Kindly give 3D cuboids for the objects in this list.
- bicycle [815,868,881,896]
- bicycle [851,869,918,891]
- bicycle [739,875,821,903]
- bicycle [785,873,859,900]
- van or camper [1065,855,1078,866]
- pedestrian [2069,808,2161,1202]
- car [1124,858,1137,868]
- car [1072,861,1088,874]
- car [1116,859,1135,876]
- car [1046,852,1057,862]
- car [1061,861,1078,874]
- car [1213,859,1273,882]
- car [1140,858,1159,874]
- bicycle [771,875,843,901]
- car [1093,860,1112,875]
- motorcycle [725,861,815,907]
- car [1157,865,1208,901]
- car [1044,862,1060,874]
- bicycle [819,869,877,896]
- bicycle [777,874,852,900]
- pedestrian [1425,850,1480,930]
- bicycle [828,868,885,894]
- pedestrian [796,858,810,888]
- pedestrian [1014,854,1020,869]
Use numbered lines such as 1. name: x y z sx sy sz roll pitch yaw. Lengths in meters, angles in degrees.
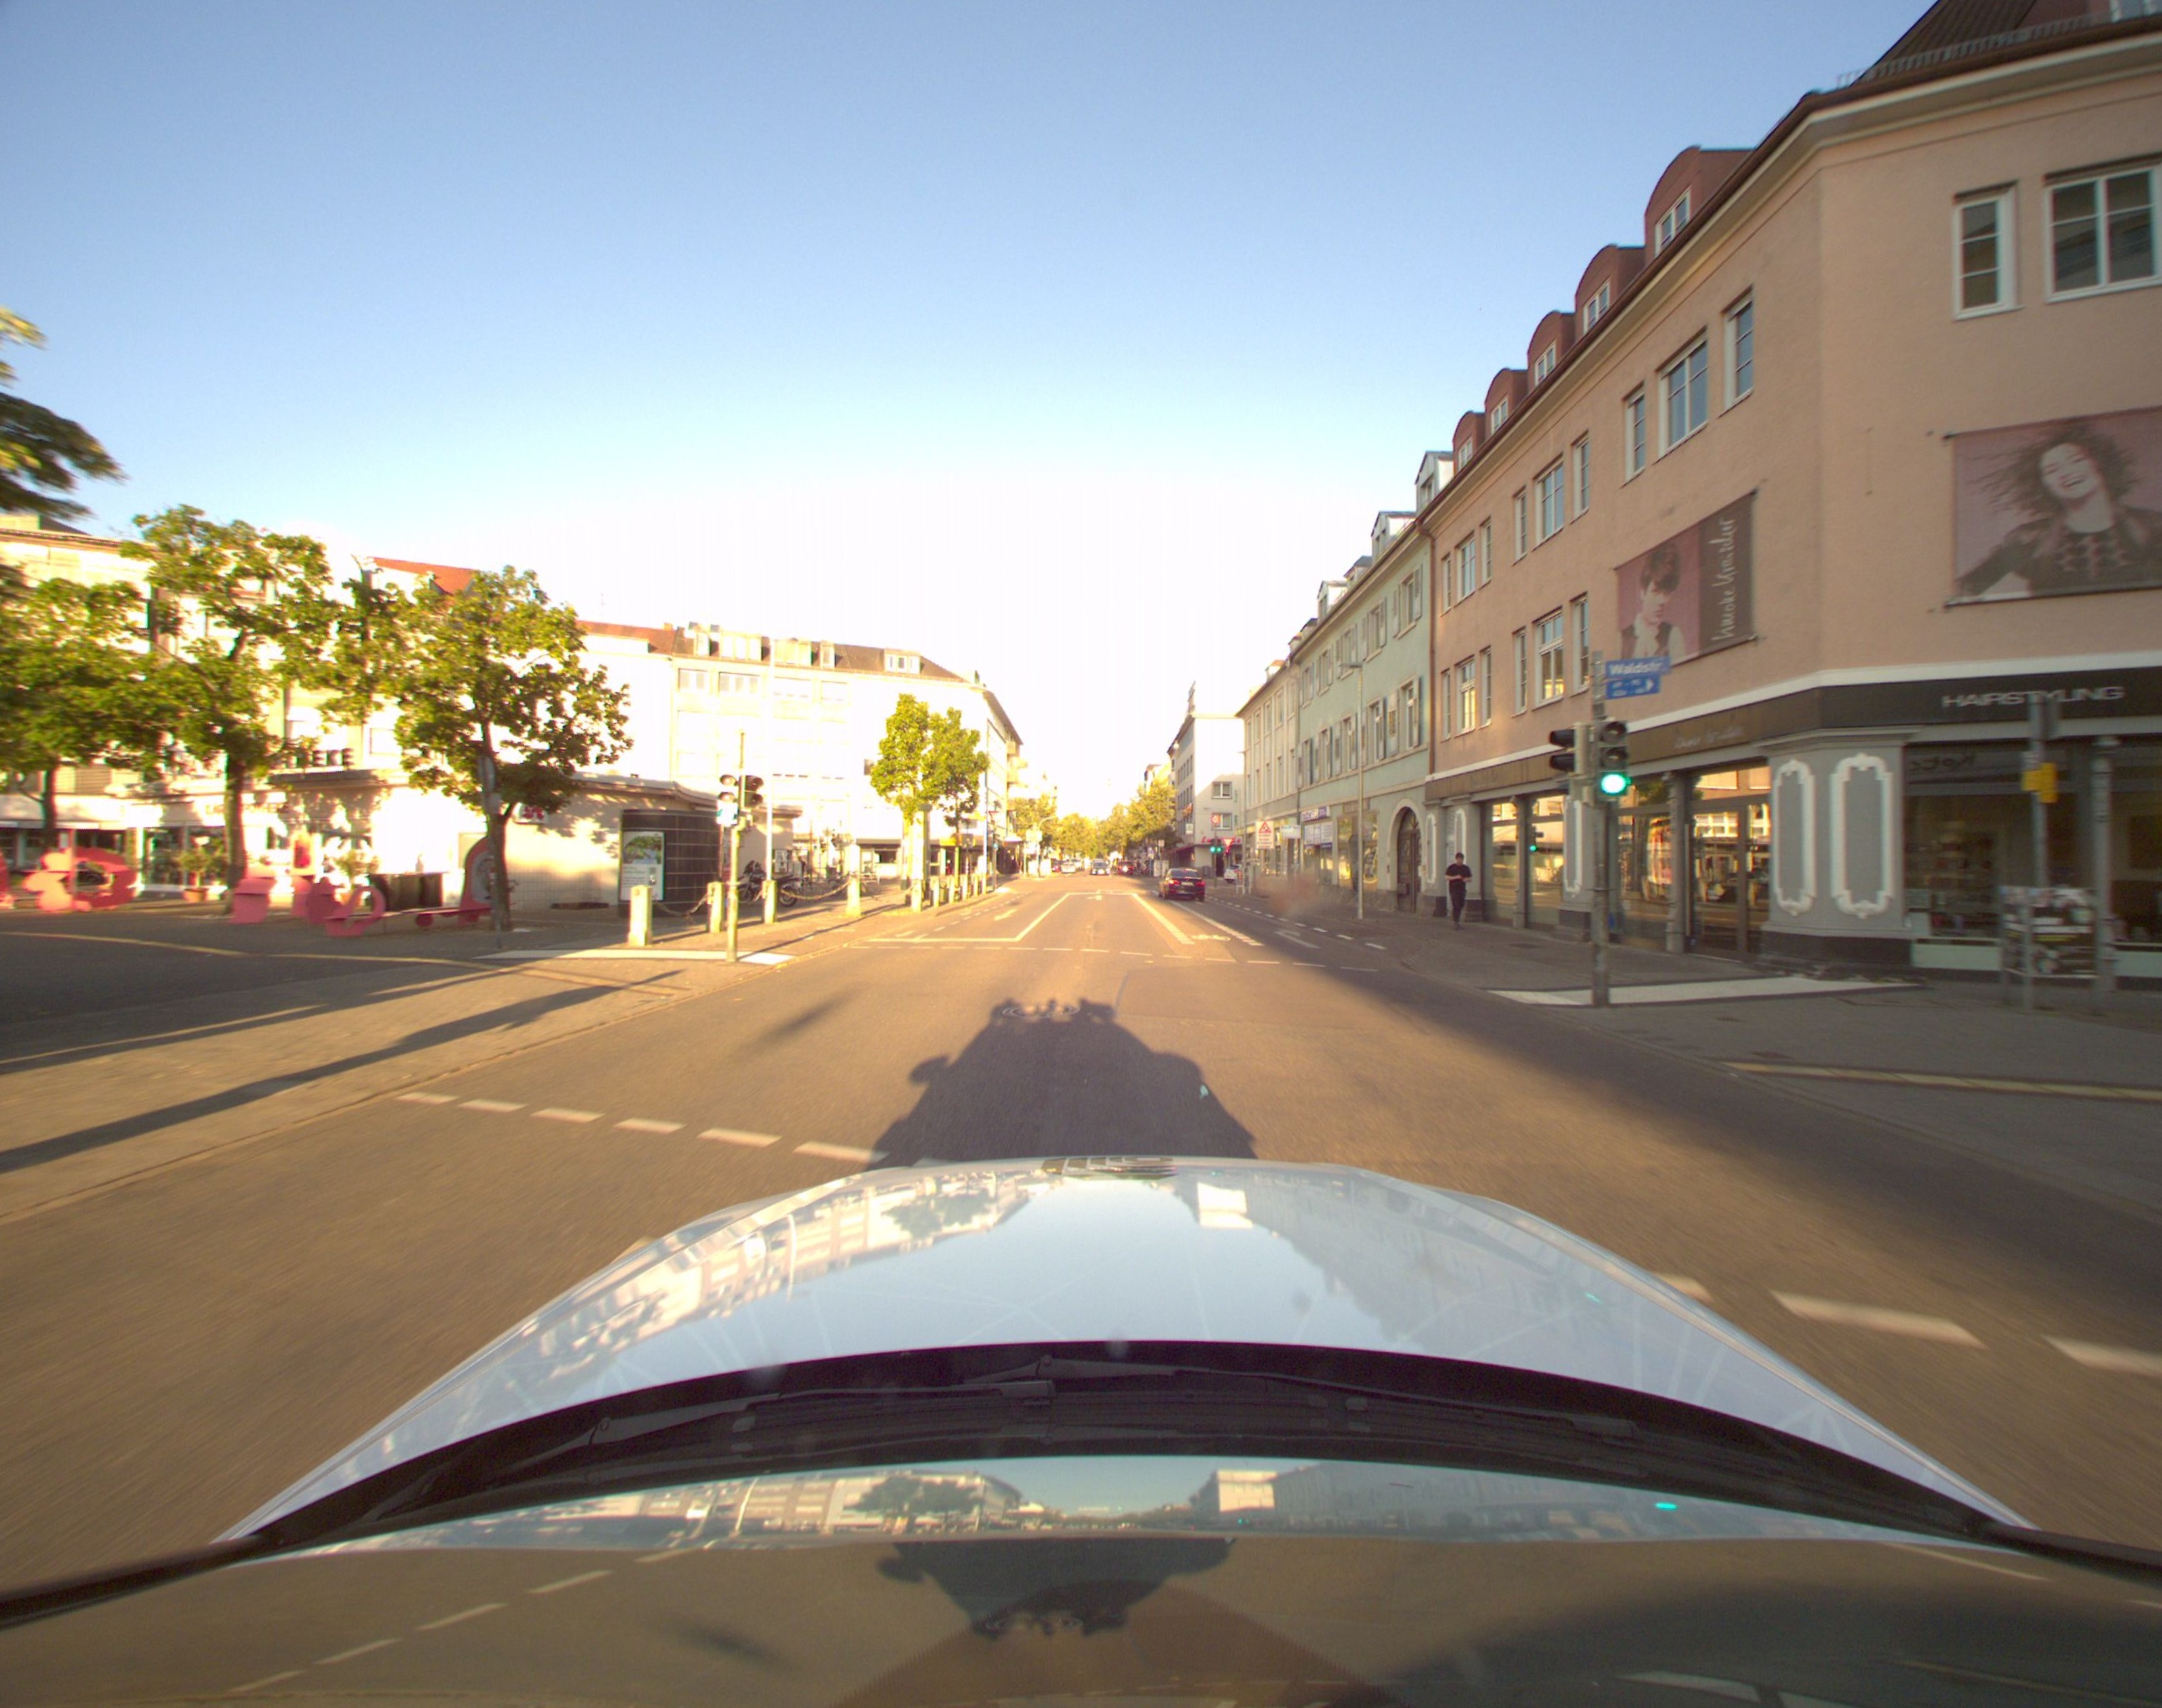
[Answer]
1. bicycle: -9.671 1.161 33.905 2.516 1.146 0.700 0 -1 -1
2. bicycle: -9.205 1.225 38.253 2.929 1.022 0.844 0 -1 3
3. bicycle: -10.236 1.190 27.780 2.516 0.919 0.700 0 -1 -1
4. bicycle: -9.925 1.237 31.230 2.516 0.997 0.933 0 -1 -1
5. van or camper: -2.036 1.355 171.238 2.466 2.405 3.996 1 0 -2
6. pedestrian: 5.134 0.665 3.516 0.793 1.720 0.810 1 0 -6
7. car: 7.990 1.490 131.756 1.776 1.596 3.632 1 0 -2
8. car: -0.167 1.902 113.008 1.985 1.750 4.003 1 0 3
9. car: 4.781 1.392 87.776 1.986 1.750 4.002 1 0 2
10. car: -5.745 0.583 160.402 1.820 2.013 3.679 1 0 3
11. car: -1.415 1.630 100.785 1.886 1.596 4.003 1 0 3
12. car: 12.085 1.236 60.806 3.909 1.604 2.317 1 0 -35
13. car: 7.996 1.428 95.143 1.986 1.779 4.002 1 0 2
14. bicycle: -9.777 1.207 29.115 2.320 0.919 0.700 0 -1 -1
15. car: 2.237 1.371 85.374 1.877 1.486 4.003 1 0 3
16. motorcycle: -9.865 0.935 25.905 2.405 1.426 1.113 0 -1 0
17. car: 4.562 1.281 37.000 1.882 1.492 4.205 1 0 1
18. car: -4.011 1.888 113.347 1.886 1.596 4.003 1 0 3
19. bicycle: -10.025 1.208 35.125 2.229 1.135 0.811 0 -1 -1
20. bicycle: -9.833 1.210 30.109 2.516 0.919 0.700 0 -1 -1
21. pedestrian: 8.598 0.814 18.878 0.755 1.777 1.047 1 0 -3
22. bicycle: -9.921 1.181 36.041 2.314 1.131 0.800 0 -1 2
23. pedestrian: -14.774 1.011 43.253 0.551 1.610 0.636 1 -1 -33
24. pedestrian: -7.309 0.844 92.486 0.600 1.721 0.575 1 0 -13
